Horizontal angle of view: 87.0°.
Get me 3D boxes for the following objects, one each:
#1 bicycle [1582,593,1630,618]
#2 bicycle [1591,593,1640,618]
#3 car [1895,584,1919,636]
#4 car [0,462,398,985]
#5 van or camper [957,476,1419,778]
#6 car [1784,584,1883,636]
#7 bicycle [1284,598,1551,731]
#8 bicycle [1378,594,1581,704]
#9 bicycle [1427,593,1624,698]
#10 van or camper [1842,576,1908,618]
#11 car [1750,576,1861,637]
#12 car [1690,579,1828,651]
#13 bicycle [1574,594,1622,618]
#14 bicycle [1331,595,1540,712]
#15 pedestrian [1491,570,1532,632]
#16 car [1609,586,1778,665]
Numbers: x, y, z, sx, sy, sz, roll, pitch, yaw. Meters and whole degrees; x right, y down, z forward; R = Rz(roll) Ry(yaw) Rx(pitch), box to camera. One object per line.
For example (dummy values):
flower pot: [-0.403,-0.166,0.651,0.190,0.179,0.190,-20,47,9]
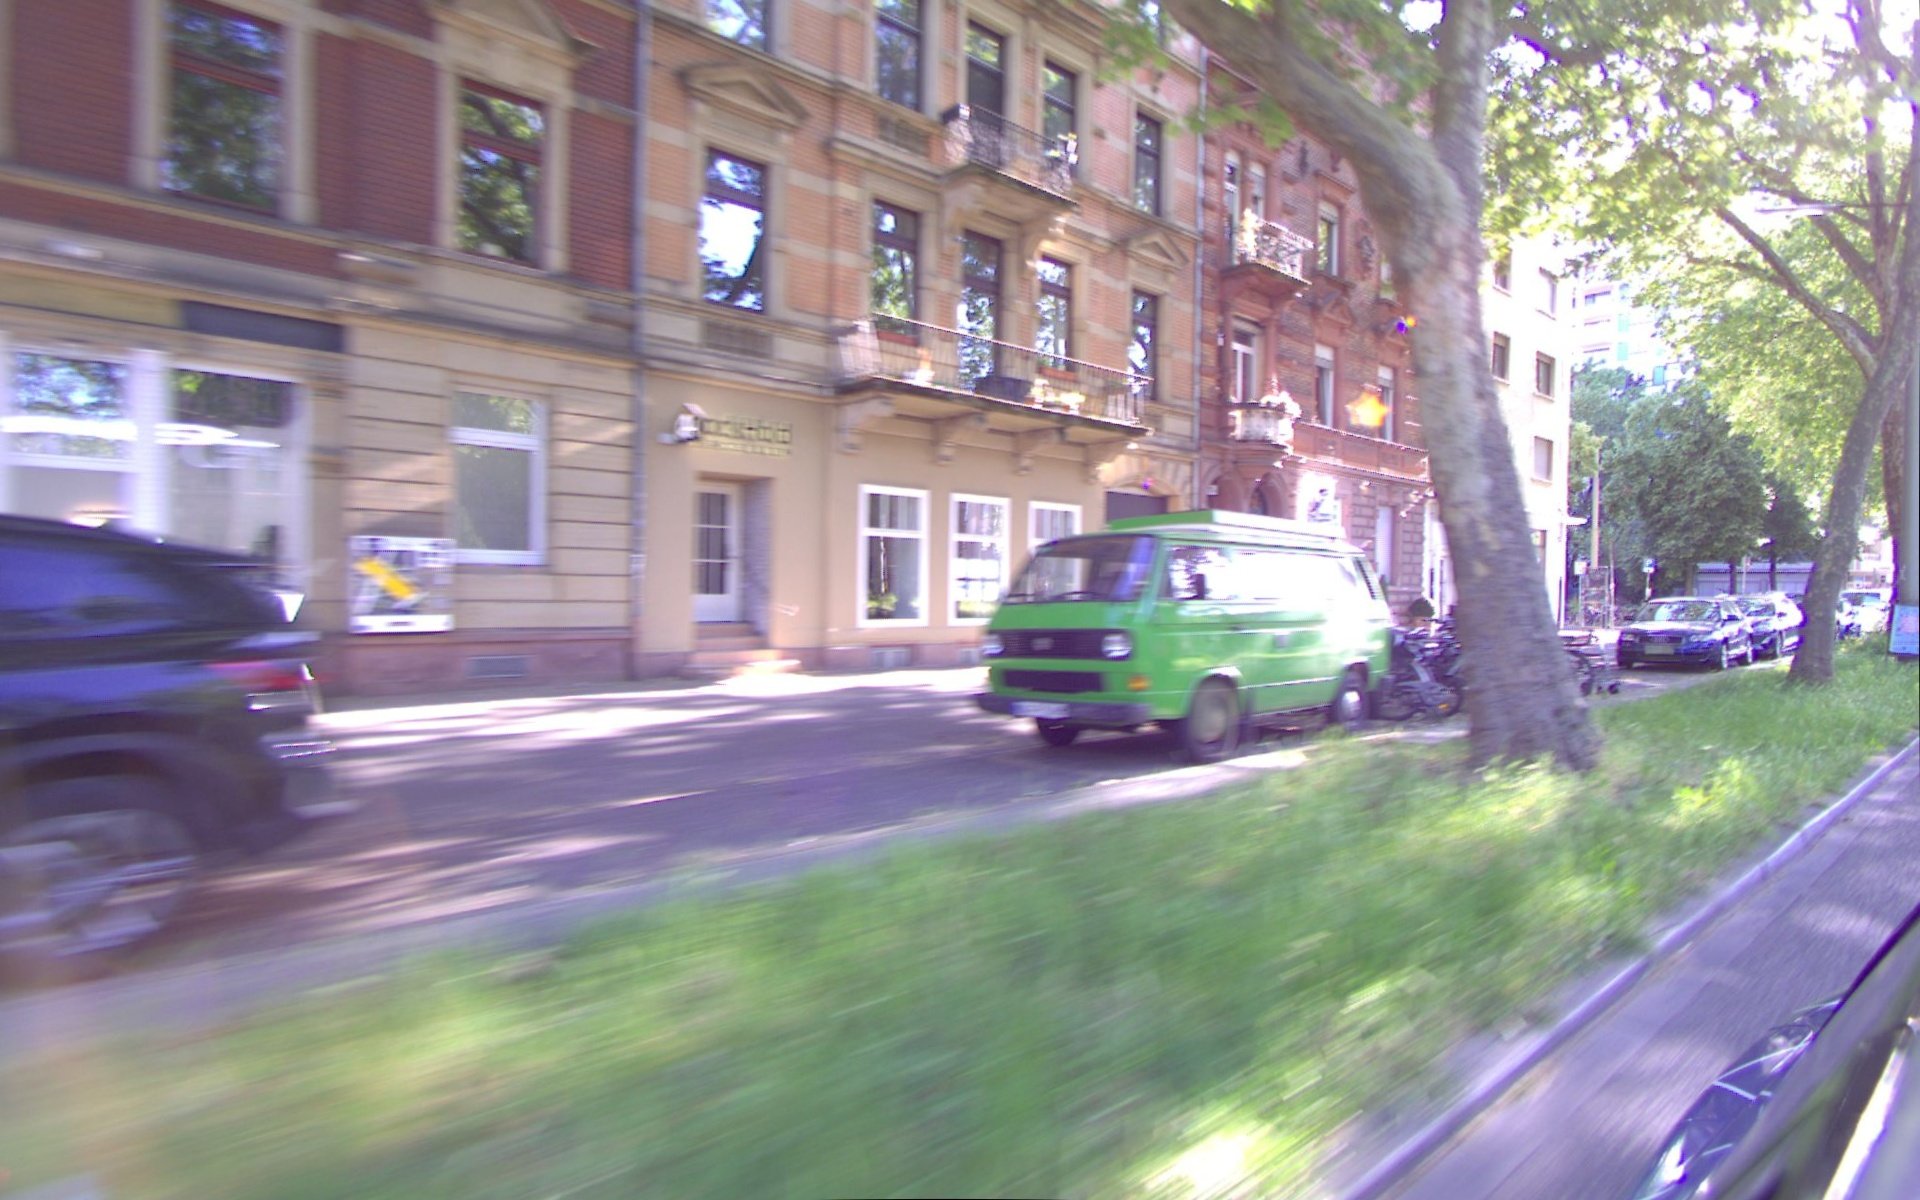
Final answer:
bicycle: [30.821,0.259,48.311,0.497,1.117,2.150,0,1,-16]
bicycle: [31.350,0.254,48.466,0.497,1.117,2.150,0,1,-16]
car: [32.645,0.310,33.760,4.744,1.656,1.904,0,1,-44]
car: [-4.597,0.426,3.112,4.719,1.668,1.892,0,-1,-43]
van or camper: [2.327,0.196,9.410,4.694,2.125,1.835,0,-2,-43]
car: [26.713,0.290,30.898,4.187,1.470,1.717,1,0,-41]
bicycle: [5.023,0.636,11.255,2.548,1.310,0.959,0,0,43]
bicycle: [6.756,0.578,13.256,0.965,1.310,2.168,0,0,-40]
bicycle: [7.703,0.567,13.886,0.965,1.310,2.169,0,0,-39]
van or camper: [53.306,-0.212,58.921,5.723,2.315,2.294,-1,1,-42]
car: [23.148,0.170,27.648,4.187,1.549,1.698,1,0,-41]
car: [18.816,0.334,23.750,4.500,1.526,1.698,1,0,-41]
bicycle: [30.326,0.275,48.172,0.463,1.117,2.150,0,1,-16]
bicycle: [5.807,0.600,12.419,2.160,1.310,0.969,0,0,39]
pedestrian: [15.657,0.022,28.737,0.711,1.726,0.797,0,1,-41]
car: [14.721,0.461,20.243,4.119,1.425,1.836,-1,-1,-41]
